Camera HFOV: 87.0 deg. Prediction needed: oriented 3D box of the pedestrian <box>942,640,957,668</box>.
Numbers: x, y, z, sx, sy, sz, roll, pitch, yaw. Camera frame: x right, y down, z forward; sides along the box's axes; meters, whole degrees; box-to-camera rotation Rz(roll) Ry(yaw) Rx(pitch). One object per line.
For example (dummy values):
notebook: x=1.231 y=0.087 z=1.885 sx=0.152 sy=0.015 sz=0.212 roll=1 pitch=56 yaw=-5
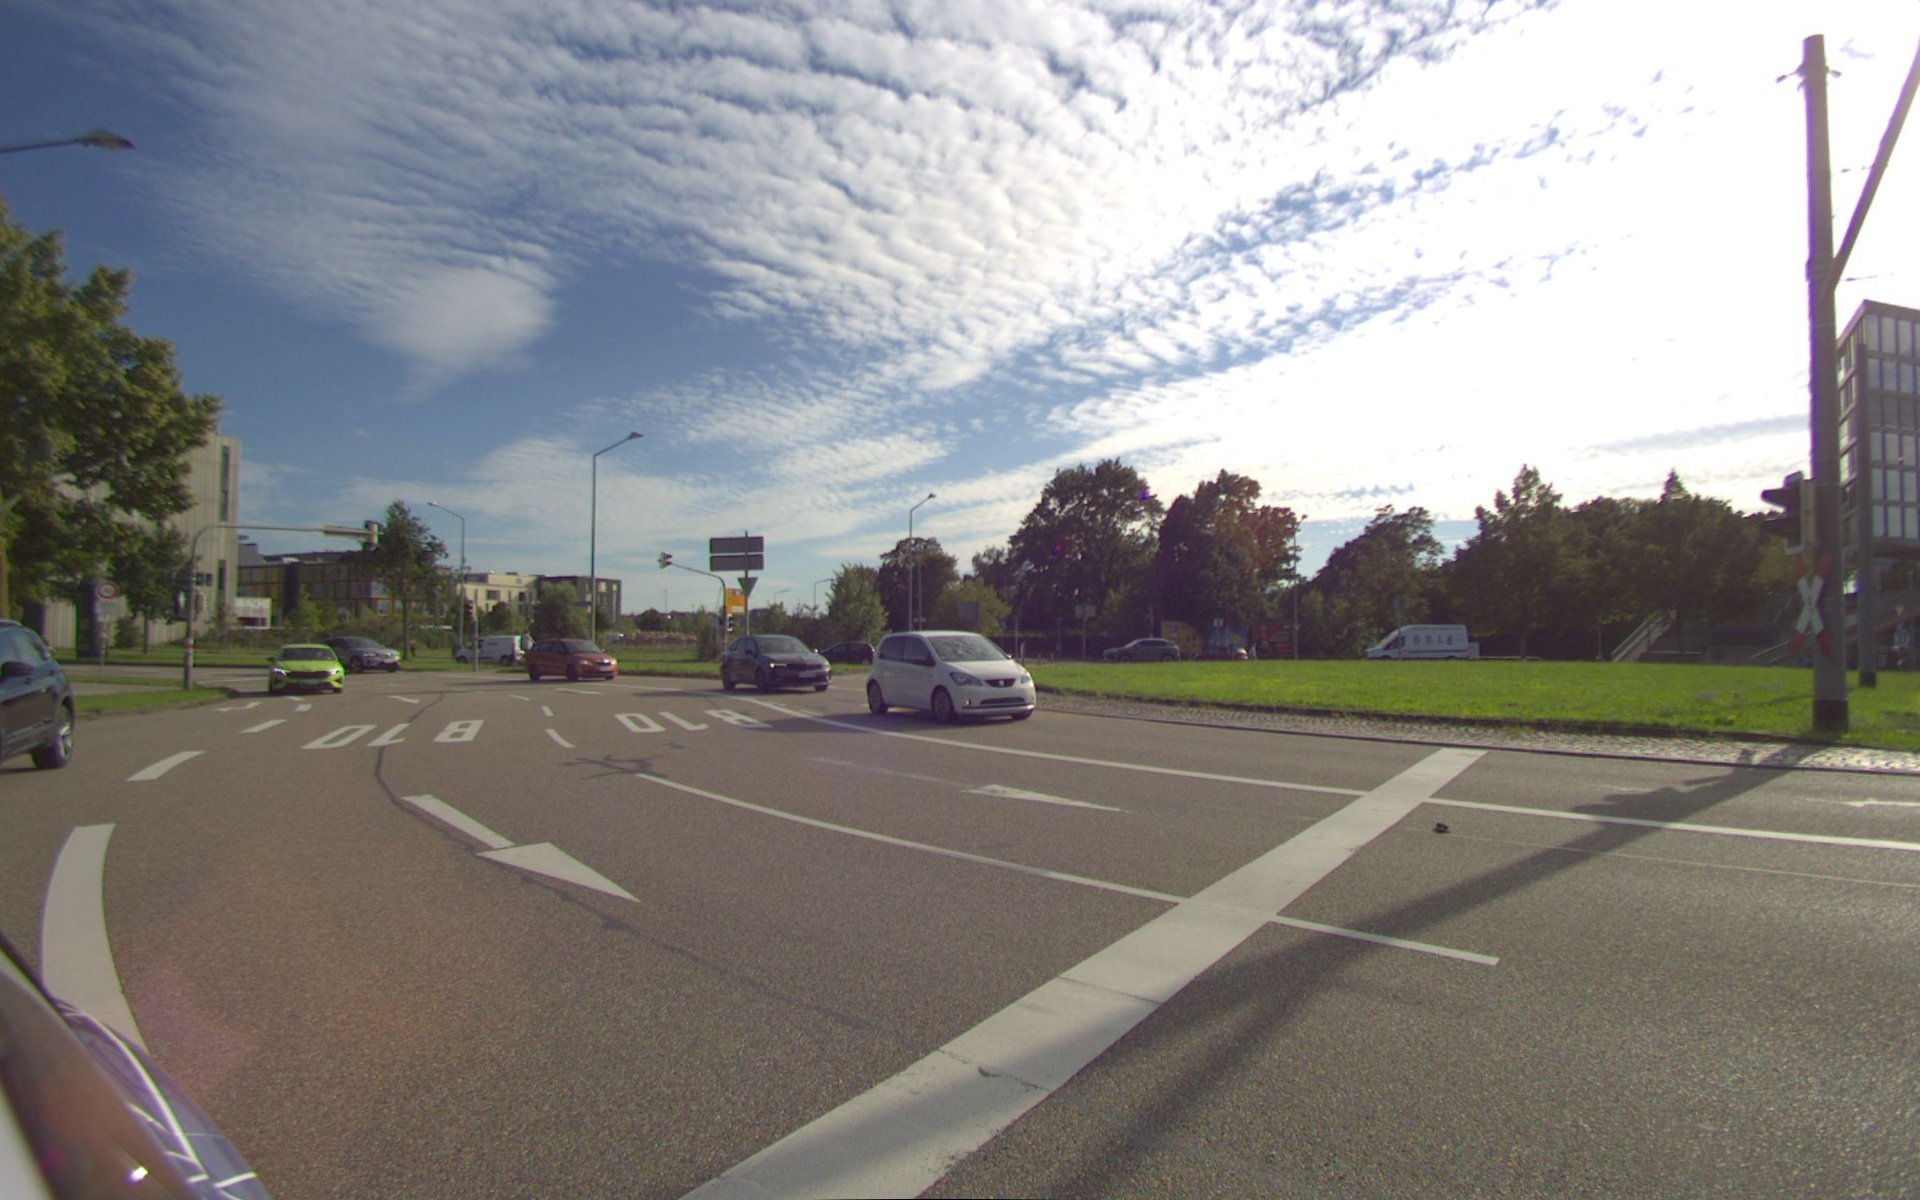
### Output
pedestrian: x=-0.764 y=3.881 z=72.828 sx=0.857 sy=1.931 sz=0.893 roll=-1 pitch=-1 yaw=12

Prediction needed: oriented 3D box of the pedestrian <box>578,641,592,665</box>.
pedestrian: x=-25.670 y=3.636 z=69.235 sx=0.654 sy=1.642 sz=0.623 roll=-1 pitch=-2 yaw=25

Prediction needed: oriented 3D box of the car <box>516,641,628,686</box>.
car: x=-13.830 y=2.222 z=35.995 sx=4.216 sy=1.486 sz=1.675 roll=-2 pitch=-2 yaw=35

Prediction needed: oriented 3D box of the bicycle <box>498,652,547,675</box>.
bicycle: x=-20.616 y=2.992 z=47.759 sx=0.997 sy=1.015 sz=1.943 roll=-1 pitch=-3 yaw=27

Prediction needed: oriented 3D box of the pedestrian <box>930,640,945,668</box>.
pedestrian: x=-1.597 y=3.890 z=72.733 sx=0.857 sy=1.931 sz=0.893 roll=-1 pitch=-1 yaw=12

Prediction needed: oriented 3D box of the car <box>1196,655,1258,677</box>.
car: x=18.794 y=4.649 z=71.270 sx=1.659 sy=1.513 sz=4.000 roll=4 pitch=-6 yaw=-40

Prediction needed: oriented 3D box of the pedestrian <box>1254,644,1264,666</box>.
pedestrian: x=22.114 y=4.092 z=74.885 sx=0.538 sy=1.637 sz=0.507 roll=2 pitch=-3 yaw=-28

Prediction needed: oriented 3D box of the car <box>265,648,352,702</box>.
car: x=-19.738 y=2.193 z=30.572 sx=1.866 sy=1.431 sz=4.617 roll=1 pitch=-2 yaw=-37

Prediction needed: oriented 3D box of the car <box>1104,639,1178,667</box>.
car: x=10.578 y=3.113 z=59.252 sx=3.932 sy=1.513 sz=1.687 roll=1 pitch=-5 yaw=-6

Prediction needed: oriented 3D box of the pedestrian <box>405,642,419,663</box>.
pedestrian: x=-41.530 y=3.956 z=76.669 sx=0.751 sy=1.519 sz=0.624 roll=-1 pitch=0 yaw=20

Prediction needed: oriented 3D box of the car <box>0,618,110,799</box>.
car: x=-10.300 y=1.033 z=9.979 sx=1.840 sy=1.708 sz=5.031 roll=2 pitch=-3 yaw=-27

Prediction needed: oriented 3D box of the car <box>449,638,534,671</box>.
car: x=-27.669 y=3.226 z=59.827 sx=4.519 sy=1.839 sz=1.677 roll=-1 pitch=-5 yaw=15

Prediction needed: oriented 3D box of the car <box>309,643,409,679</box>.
car: x=-26.725 y=2.693 z=45.000 sx=4.201 sy=1.486 sz=1.681 roll=0 pitch=-2 yaw=24

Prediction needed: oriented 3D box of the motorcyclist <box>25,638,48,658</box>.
motorcyclist: x=-65.276 y=3.394 z=71.534 sx=0.936 sy=1.376 sz=0.779 roll=-1 pitch=-3 yaw=21

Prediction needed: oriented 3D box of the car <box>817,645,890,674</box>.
car: x=-5.921 y=3.304 z=56.221 sx=3.932 sy=1.513 sz=1.687 roll=1 pitch=-5 yaw=-6

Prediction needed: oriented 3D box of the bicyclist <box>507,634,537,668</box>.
bicyclist: x=-20.659 y=2.390 z=47.709 sx=0.992 sy=1.568 sz=0.858 roll=-1 pitch=-3 yaw=27

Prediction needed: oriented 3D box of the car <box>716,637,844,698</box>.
car: x=-4.803 y=1.739 z=26.541 sx=1.793 sy=1.431 sz=4.459 roll=1 pitch=-3 yaw=-32

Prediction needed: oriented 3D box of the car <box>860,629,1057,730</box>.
car: x=-0.145 y=1.269 z=17.056 sx=1.737 sy=1.475 sz=3.671 roll=0 pitch=-3 yaw=-29

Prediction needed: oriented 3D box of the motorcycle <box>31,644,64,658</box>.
motorcycle: x=-64.226 y=3.577 z=71.228 sx=2.006 sy=0.994 sz=0.780 roll=-1 pitch=-3 yaw=16

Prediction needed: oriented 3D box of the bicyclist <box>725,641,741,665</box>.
bicyclist: x=-13.801 y=3.208 z=61.558 sx=0.611 sy=1.457 sz=0.688 roll=-3 pitch=-4 yaw=41

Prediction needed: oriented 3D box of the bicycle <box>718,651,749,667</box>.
bicycle: x=-13.788 y=3.588 z=61.566 sx=0.611 sy=0.996 sz=1.812 roll=-3 pitch=-4 yaw=42

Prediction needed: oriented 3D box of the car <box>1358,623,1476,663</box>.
car: x=27.142 y=2.552 z=60.243 sx=5.950 sy=2.281 sz=2.062 roll=0 pitch=-5 yaw=6
